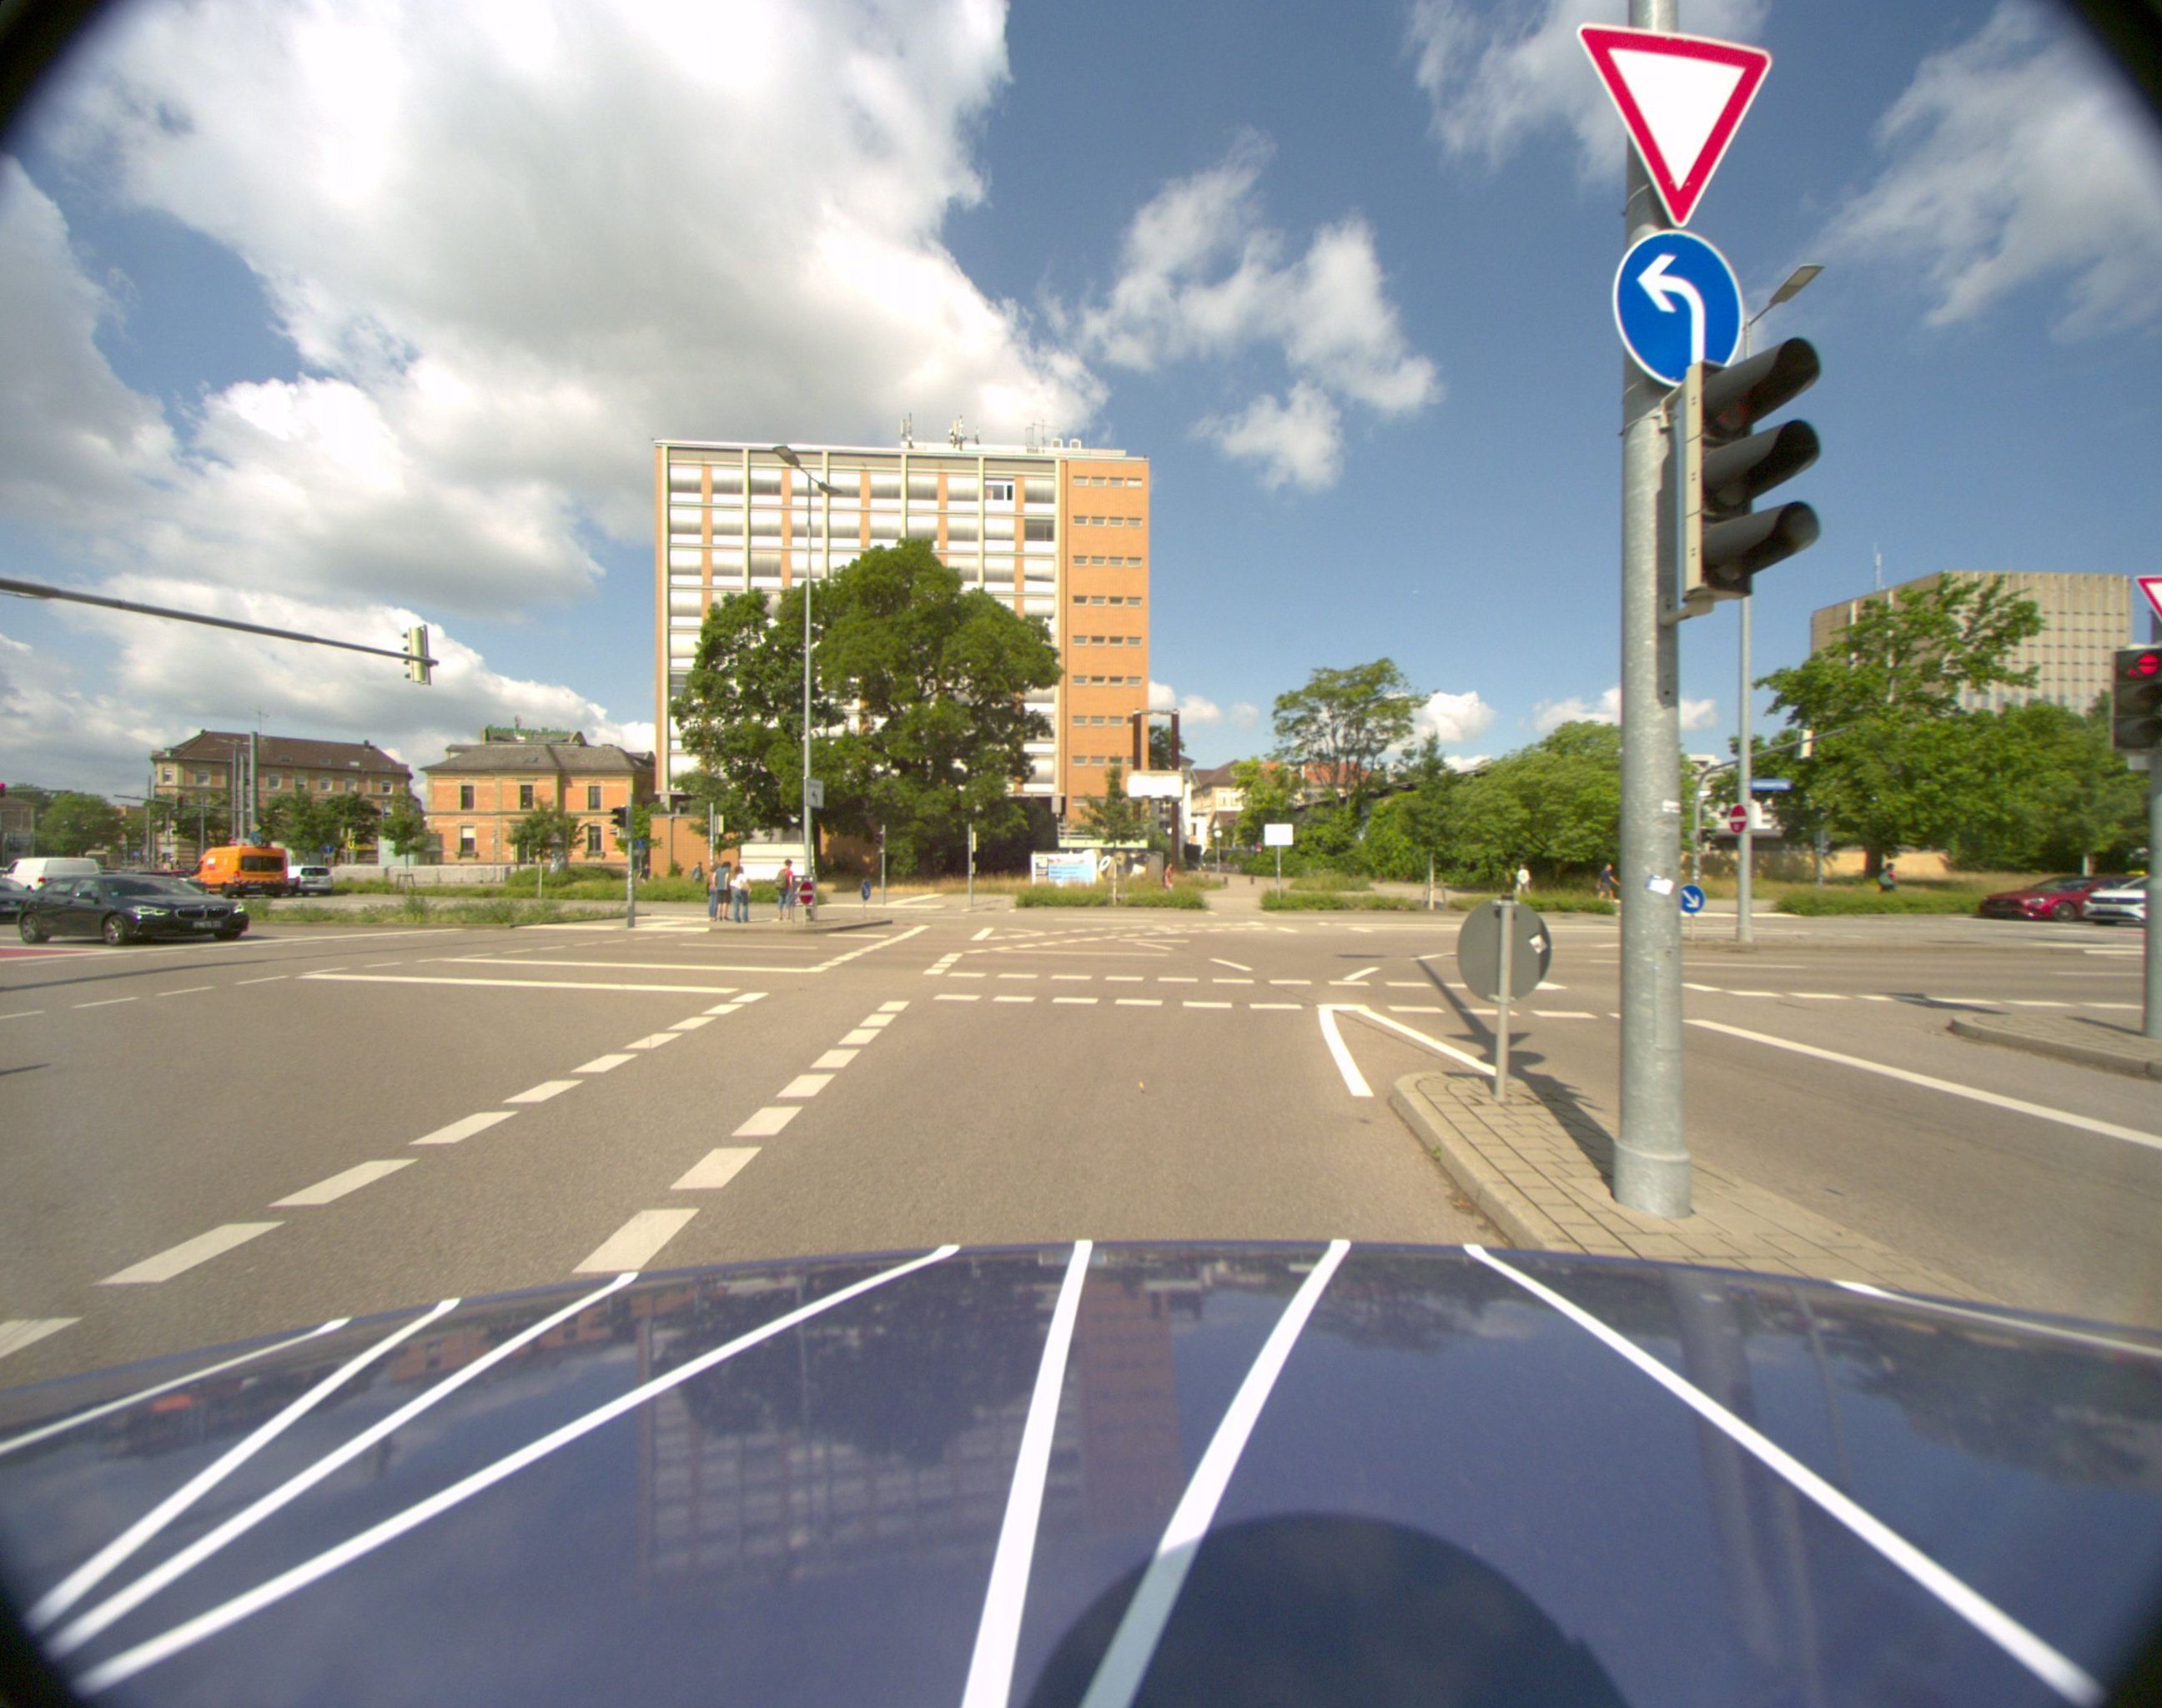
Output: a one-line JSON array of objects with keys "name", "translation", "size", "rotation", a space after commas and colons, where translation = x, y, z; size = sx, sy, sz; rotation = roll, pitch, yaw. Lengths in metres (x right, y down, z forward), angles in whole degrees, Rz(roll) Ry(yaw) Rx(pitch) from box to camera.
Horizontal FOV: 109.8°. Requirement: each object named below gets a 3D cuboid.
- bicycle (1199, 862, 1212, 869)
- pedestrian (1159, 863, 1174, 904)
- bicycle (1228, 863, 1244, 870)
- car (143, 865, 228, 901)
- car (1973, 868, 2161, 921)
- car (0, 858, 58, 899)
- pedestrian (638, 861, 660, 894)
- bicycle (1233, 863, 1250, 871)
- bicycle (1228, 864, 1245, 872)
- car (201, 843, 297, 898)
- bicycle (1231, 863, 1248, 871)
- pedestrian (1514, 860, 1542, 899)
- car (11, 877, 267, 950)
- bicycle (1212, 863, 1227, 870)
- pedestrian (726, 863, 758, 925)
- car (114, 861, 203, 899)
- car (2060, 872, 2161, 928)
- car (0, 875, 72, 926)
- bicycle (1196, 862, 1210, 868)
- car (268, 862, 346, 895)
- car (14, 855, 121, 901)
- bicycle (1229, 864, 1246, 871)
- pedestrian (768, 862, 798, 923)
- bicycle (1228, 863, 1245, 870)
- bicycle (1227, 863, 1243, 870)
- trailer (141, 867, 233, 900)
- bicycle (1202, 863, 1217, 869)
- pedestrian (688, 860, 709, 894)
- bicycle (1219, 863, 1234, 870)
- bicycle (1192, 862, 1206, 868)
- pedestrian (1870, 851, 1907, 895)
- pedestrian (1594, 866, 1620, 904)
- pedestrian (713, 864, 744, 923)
[{"name": "bicycle", "translation": [14.640, 1.352, 89.415], "size": [1.557, 0.715, 0.509], "rotation": [0, 0, 4]}, {"name": "pedestrian", "translation": [3.616, 1.242, 32.145], "size": [0.577, 1.723, 0.663], "rotation": [0, 0, 9]}, {"name": "bicycle", "translation": [15.665, 1.261, 76.700], "size": [1.557, 0.715, 0.509], "rotation": [0, 0, 4]}, {"name": "car", "translation": [-51.852, 1.642, 43.989], "size": [4.626, 1.927, 2.001], "rotation": [0, 1, 25]}, {"name": "car", "translation": [32.001, 1.287, 24.475], "size": [4.459, 1.631, 1.687], "rotation": [0, 0, 1]}, {"name": "car", "translation": [-53.634, 1.193, 38.035], "size": [4.626, 1.927, 2.001], "rotation": [0, 1, 25]}, {"name": "pedestrian", "translation": [-23.514, 1.262, 41.351], "size": [0.665, 1.773, 0.792], "rotation": [0, 0, 25]}, {"name": "bicycle", "translation": [15.535, 1.272, 73.504], "size": [1.557, 0.715, 0.509], "rotation": [0, 0, 4]}, {"name": "bicycle", "translation": [14.713, 1.296, 71.964], "size": [1.557, 0.715, 0.509], "rotation": [0, 0, 4]}, {"name": "car", "translation": [-44.091, 0.813, 40.274], "size": [4.626, 2.764, 2.140], "rotation": [0, 1, 25]}, {"name": "bicycle", "translation": [15.243, 1.257, 72.894], "size": [1.557, 0.715, 0.509], "rotation": [0, 0, 4]}, {"name": "pedestrian", "translation": [19.328, 1.093, 32.863], "size": [0.720, 1.629, 0.871], "rotation": [0, 0, 3]}, {"name": "car", "translation": [-19.895, 1.190, 16.099], "size": [4.219, 1.380, 1.800], "rotation": [0, 0, 14]}, {"name": "bicycle", "translation": [14.785, 1.339, 81.022], "size": [1.557, 0.715, 0.509], "rotation": [0, 0, 4]}, {"name": "pedestrian", "translation": [-9.514, 1.103, 21.307], "size": [0.622, 1.723, 0.527], "rotation": [0, 0, 11]}, {"name": "car", "translation": [-46.921, 1.279, 38.640], "size": [3.989, 1.816, 2.004], "rotation": [0, 1, 27]}, {"name": "car", "translation": [31.121, 1.291, 21.645], "size": [4.007, 1.530, 1.797], "rotation": [0, -2, 2]}, {"name": "car", "translation": [-33.105, 1.383, 23.106], "size": [4.052, 1.470, 1.670], "rotation": [0, -3, 19]}, {"name": "bicycle", "translation": [14.549, 1.328, 90.488], "size": [1.557, 0.715, 0.509], "rotation": [0, 0, 4]}, {"name": "car", "translation": [-44.736, 1.401, 43.906], "size": [3.989, 1.784, 2.004], "rotation": [0, 1, 27]}, {"name": "car", "translation": [-46.276, 1.056, 34.673], "size": [4.626, 1.955, 2.016], "rotation": [0, 1, 25]}, {"name": "bicycle", "translation": [15.438, 1.320, 75.012], "size": [1.557, 0.715, 0.509], "rotation": [0, 0, 4]}, {"name": "pedestrian", "translation": [-8.548, 1.080, 21.789], "size": [0.622, 1.723, 0.527], "rotation": [0, 0, 11]}, {"name": "bicycle", "translation": [15.564, 1.247, 76.077], "size": [1.557, 0.715, 0.509], "rotation": [0, 0, 4]}, {"name": "bicycle", "translation": [15.647, 1.244, 77.424], "size": [1.557, 0.715, 0.509], "rotation": [0, 0, 4]}, {"name": "trailer", "translation": [-43.500, 1.408, 36.961], "size": [3.989, 1.468, 2.004], "rotation": [0, 1, 27]}, {"name": "bicycle", "translation": [14.471, 1.328, 85.659], "size": [1.557, 0.715, 0.509], "rotation": [0, 0, 4]}, {"name": "pedestrian", "translation": [-20.758, 1.241, 41.244], "size": [0.665, 1.773, 0.792], "rotation": [0, 0, 22]}, {"name": "bicycle", "translation": [15.212, 1.289, 79.493], "size": [1.557, 0.715, 0.509], "rotation": [0, 0, 4]}, {"name": "bicycle", "translation": [14.190, 1.310, 91.408], "size": [1.557, 0.715, 0.509], "rotation": [0, 0, 4]}, {"name": "pedestrian", "translation": [31.724, 0.731, 29.867], "size": [0.678, 1.725, 0.745], "rotation": [0, 0, 5]}, {"name": "pedestrian", "translation": [20.958, 1.234, 30.259], "size": [0.551, 1.499, 0.773], "rotation": [0, 0, 7]}, {"name": "pedestrian", "translation": [-10.217, 1.131, 22.014], "size": [0.622, 1.674, 0.527], "rotation": [0, 0, 11]}]
